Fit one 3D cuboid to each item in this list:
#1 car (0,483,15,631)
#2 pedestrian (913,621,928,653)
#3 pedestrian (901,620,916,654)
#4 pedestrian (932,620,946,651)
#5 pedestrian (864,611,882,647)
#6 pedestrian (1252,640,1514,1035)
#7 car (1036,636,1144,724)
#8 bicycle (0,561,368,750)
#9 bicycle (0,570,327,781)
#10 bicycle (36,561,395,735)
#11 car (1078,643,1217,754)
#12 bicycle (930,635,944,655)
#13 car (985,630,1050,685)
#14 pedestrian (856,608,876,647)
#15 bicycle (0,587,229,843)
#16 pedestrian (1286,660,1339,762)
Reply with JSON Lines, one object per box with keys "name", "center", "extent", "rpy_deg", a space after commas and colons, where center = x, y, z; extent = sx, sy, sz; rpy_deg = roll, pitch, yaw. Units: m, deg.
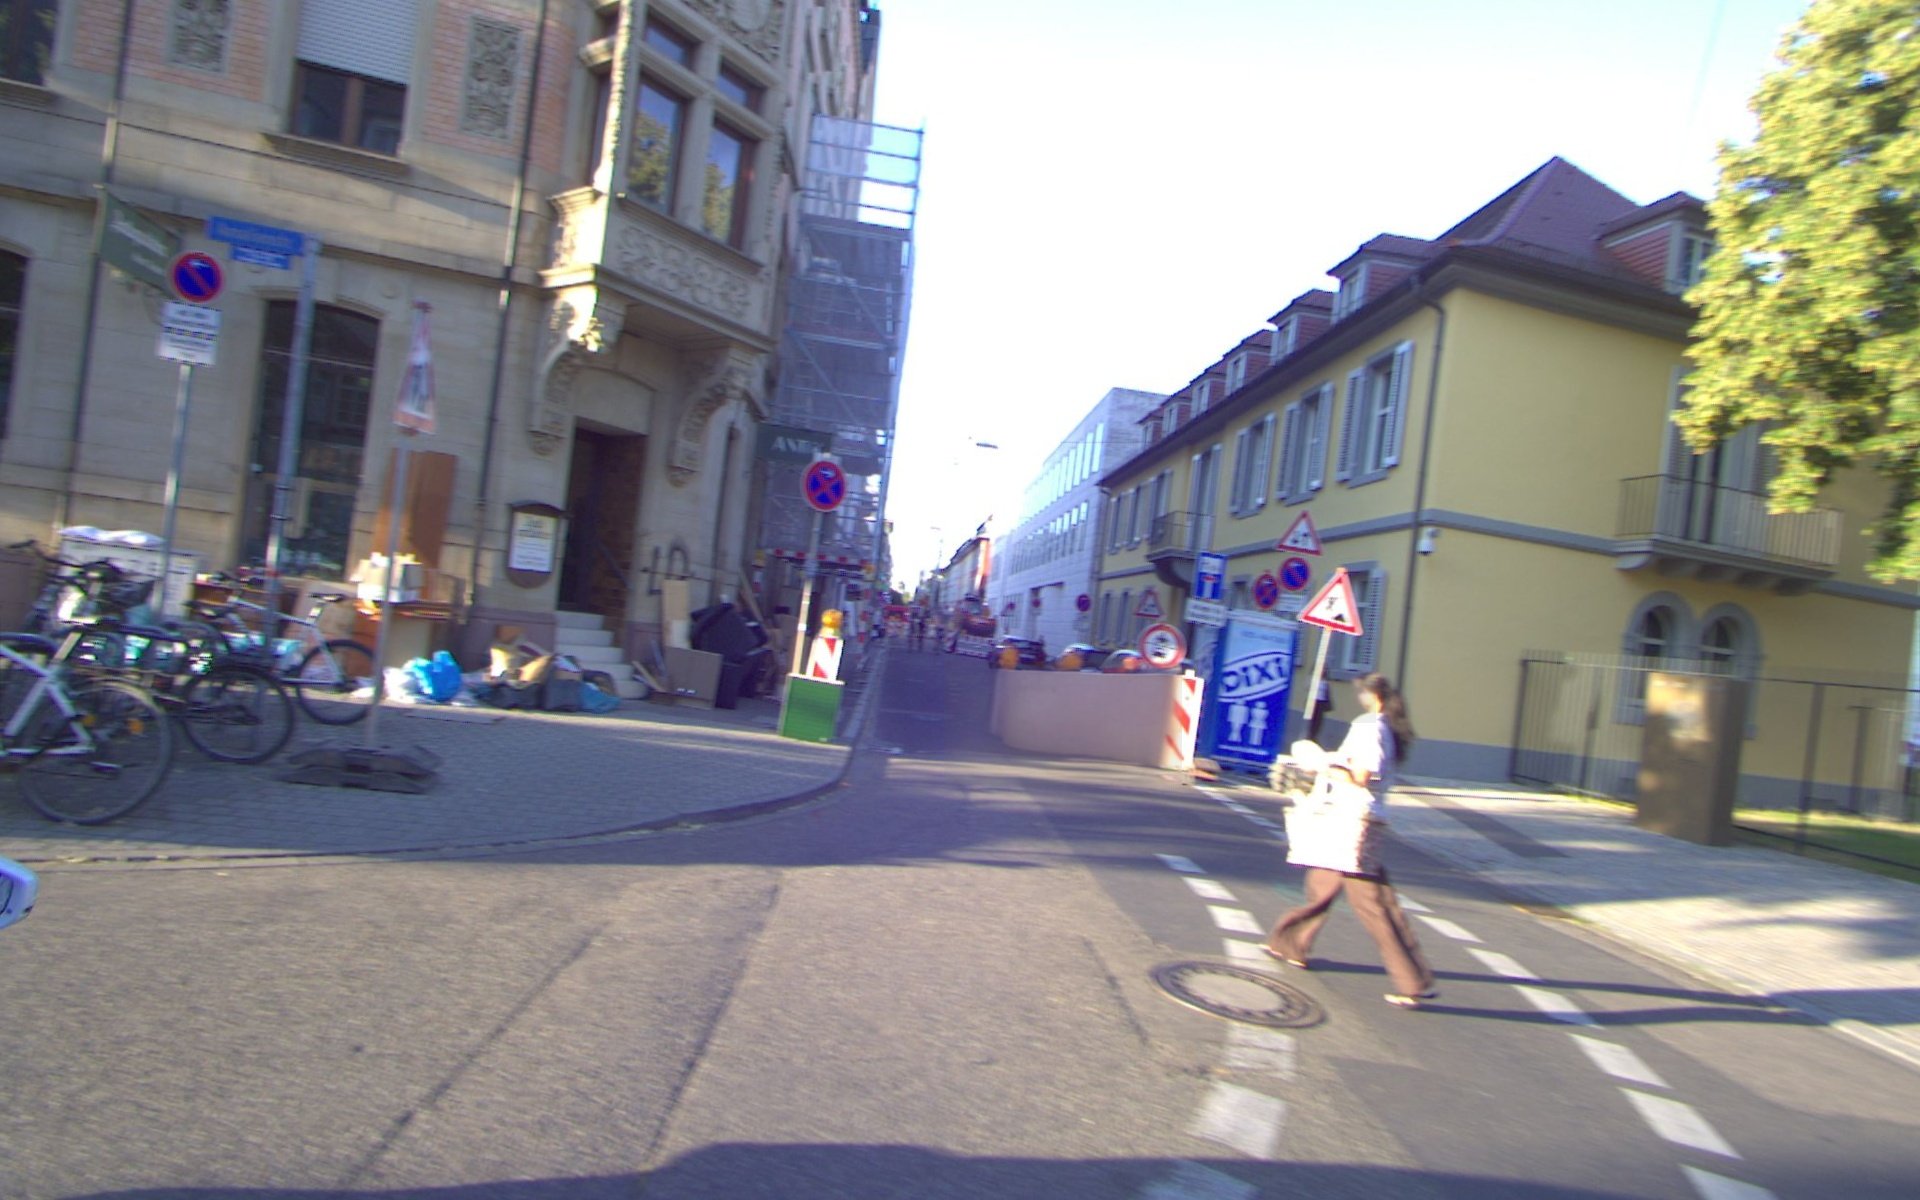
{"name": "car", "center": [-7.916, -0.217, 5.519], "extent": [1.881, 1.529, 4.528], "rpy_deg": [7, 0, -14]}
{"name": "pedestrian", "center": [-1.922, 1.813, 49.000], "extent": [0.497, 1.479, 0.512], "rpy_deg": [7, 0, 2]}
{"name": "pedestrian", "center": [-2.395, 1.711, 46.712], "extent": [0.497, 1.479, 0.512], "rpy_deg": [7, 0, -4]}
{"name": "pedestrian", "center": [-1.032, 1.714, 48.776], "extent": [0.497, 1.479, 0.512], "rpy_deg": [7, 0, -5]}
{"name": "pedestrian", "center": [-4.446, 1.479, 51.337], "extent": [0.506, 1.786, 0.503], "rpy_deg": [7, 0, 45]}
{"name": "pedestrian", "center": [2.124, 1.105, 5.051], "extent": [0.945, 1.679, 0.638], "rpy_deg": [7, 0, 34]}
{"name": "car", "center": [2.842, 1.734, 22.809], "extent": [1.518, 1.538, 3.977], "rpy_deg": [7, -1, -4]}
{"name": "bicycle", "center": [-5.440, 0.391, 7.007], "extent": [2.078, 1.026, 0.638], "rpy_deg": [8, 0, -16]}
{"name": "bicycle", "center": [-5.002, 0.447, 6.061], "extent": [1.804, 1.026, 0.638], "rpy_deg": [8, 0, -16]}
{"name": "bicycle", "center": [-5.593, 0.377, 7.679], "extent": [2.078, 1.052, 0.464], "rpy_deg": [8, 0, -16]}
{"name": "car", "center": [3.299, 1.711, 18.267], "extent": [1.518, 1.537, 3.220], "rpy_deg": [9, -1, -4]}
{"name": "bicycle", "center": [-1.099, 2.183, 48.868], "extent": [0.497, 0.894, 1.476], "rpy_deg": [7, -1, -4]}
{"name": "car", "center": [1.925, 1.937, 34.579], "extent": [1.692, 1.538, 3.220], "rpy_deg": [7, -1, -4]}
{"name": "pedestrian", "center": [-4.473, 1.294, 47.802], "extent": [0.666, 1.753, 0.699], "rpy_deg": [8, -1, -7]}
{"name": "bicycle", "center": [-4.683, 0.479, 4.765], "extent": [1.802, 1.059, 0.570], "rpy_deg": [8, 0, -12]}
{"name": "pedestrian", "center": [5.944, 1.865, 17.001], "extent": [0.460, 1.614, 0.673], "rpy_deg": [7, 0, -2]}
